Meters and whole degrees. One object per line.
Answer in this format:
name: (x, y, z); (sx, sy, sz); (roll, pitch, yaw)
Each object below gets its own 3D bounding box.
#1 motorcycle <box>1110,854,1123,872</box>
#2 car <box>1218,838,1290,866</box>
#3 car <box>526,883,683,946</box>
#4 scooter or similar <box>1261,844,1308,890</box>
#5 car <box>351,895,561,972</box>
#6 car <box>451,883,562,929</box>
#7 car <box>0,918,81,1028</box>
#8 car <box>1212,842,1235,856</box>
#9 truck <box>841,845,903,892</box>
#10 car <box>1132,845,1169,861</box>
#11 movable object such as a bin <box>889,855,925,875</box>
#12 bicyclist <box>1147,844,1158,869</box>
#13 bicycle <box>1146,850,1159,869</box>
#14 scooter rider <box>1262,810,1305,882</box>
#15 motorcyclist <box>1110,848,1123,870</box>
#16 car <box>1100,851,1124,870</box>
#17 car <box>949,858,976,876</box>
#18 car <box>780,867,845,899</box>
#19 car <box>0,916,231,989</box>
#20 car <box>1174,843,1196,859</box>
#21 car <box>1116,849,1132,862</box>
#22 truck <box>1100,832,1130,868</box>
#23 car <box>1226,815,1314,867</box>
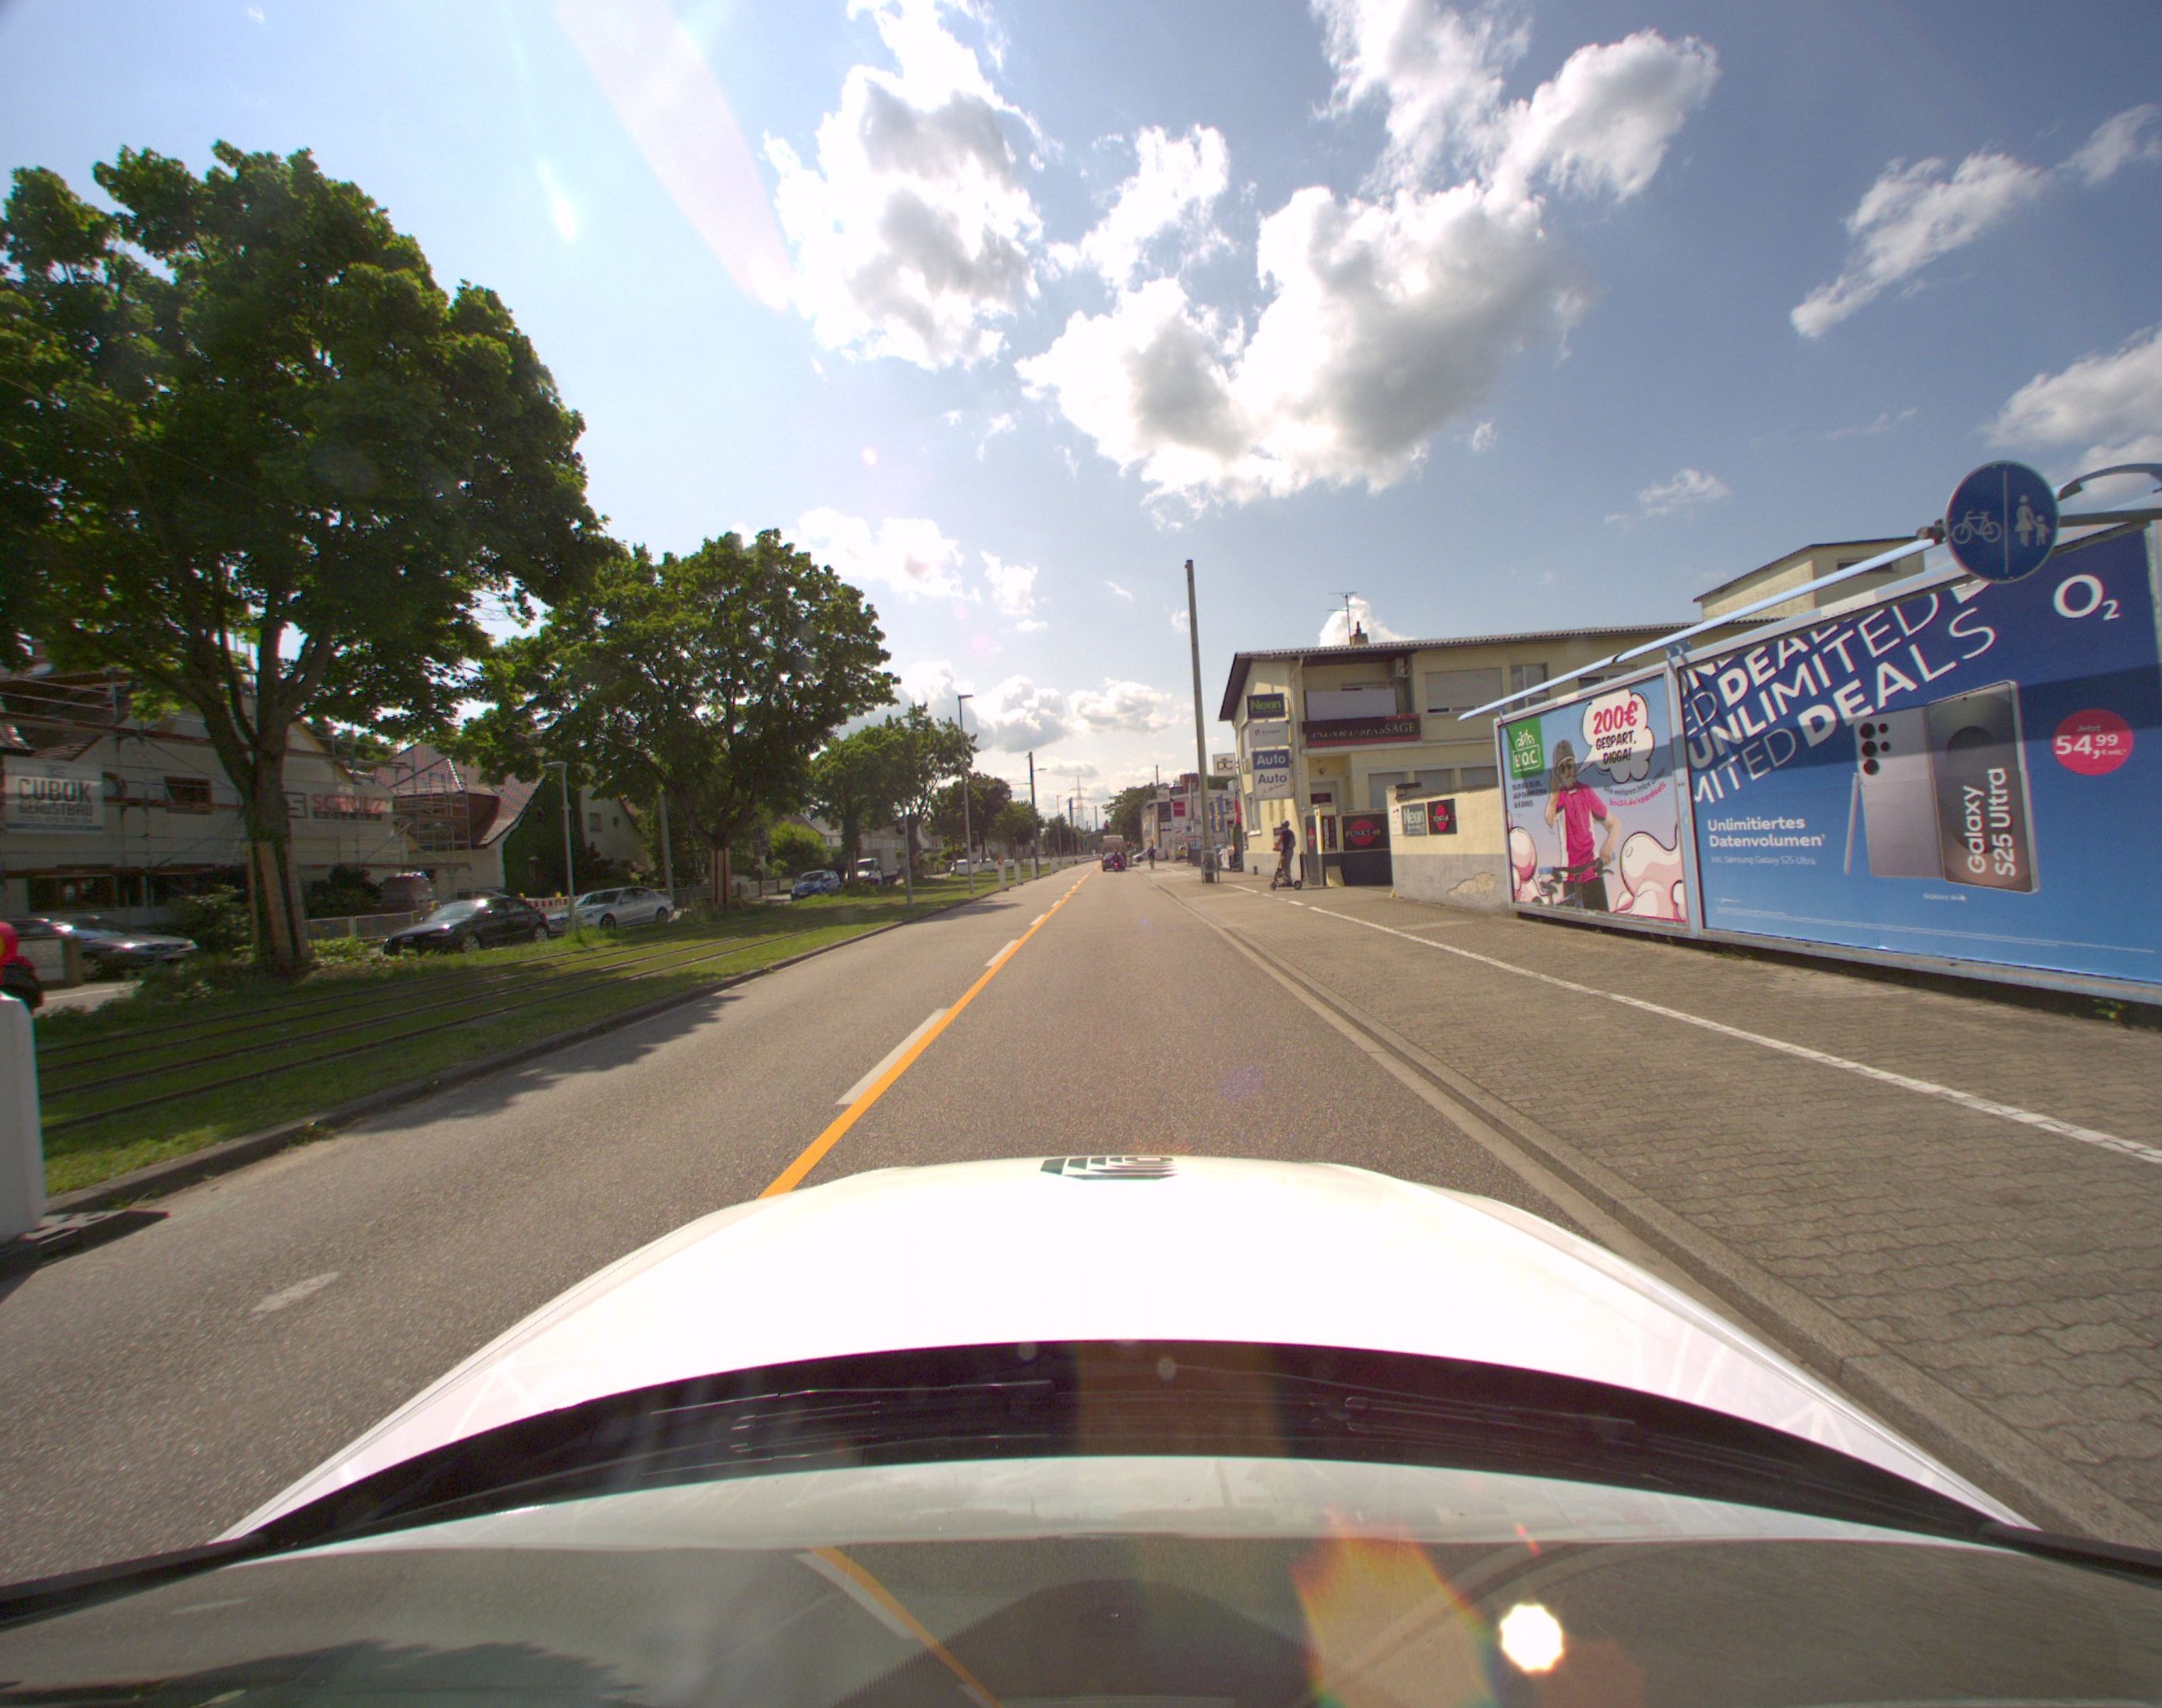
motorcycle: (2.727, 0.648, 61.985); (0.935, 1.320, 2.646); (-2, 0, 2)
car: (10.512, -0.123, 49.831); (4.159, 1.431, 1.825); (-4, 0, 9)
car: (-14.847, 1.823, 25.772); (1.797, 1.482, 4.943); (-5, 0, 3)
scooter or similar: (5.706, 0.376, 22.909); (0.541, 1.195, 1.605); (-5, -1, -11)
car: (-15.202, 1.874, 20.122); (1.986, 1.317, 3.854); (-6, -1, 2)
car: (-26.147, 2.340, 37.164); (3.634, 1.684, 1.874); (-5, -1, 1)
car: (-15.748, 1.735, 9.937); (1.986, 1.438, 4.002); (-6, -1, 2)
car: (16.360, -0.592, 93.593); (1.953, 1.420, 4.000); (-5, -1, 0)
truck: (-13.828, 0.876, 54.279); (1.986, 2.767, 6.280); (-7, 0, 2)
car: (8.888, -0.120, 103.807); (4.325, 1.551, 1.946); (-5, -1, -6)
movable object such as a bin: (-23.089, 1.455, 107.974); (4.351, 2.449, 1.777); (-4, 0, -20)
bicyclist: (5.260, 0.177, 59.843); (0.669, 1.744, 0.814); (-4, 0, 2)
bicycle: (5.252, 0.402, 59.825); (0.690, 1.361, 2.420); (-4, 0, 2)
scooter rider: (5.739, -0.209, 23.088); (0.718, 1.963, 0.782); (-5, -1, -12)
motorcyclist: (2.715, 0.389, 61.806); (0.936, 1.615, 1.205); (-2, 0, 2)
car: (2.530, 0.497, 66.278); (1.814, 1.424, 4.002); (-3, 0, 2)
car: (-12.769, 1.390, 88.092); (1.986, 1.750, 4.002); (-5, -1, 2)
car: (-14.212, 1.520, 43.306); (1.987, 1.453, 4.000); (-5, -1, 0)
car: (-23.537, 2.350, 19.645); (3.972, 1.401, 1.983); (-3, -1, 2)
car: (11.842, -0.364, 93.011); (1.953, 1.648, 4.000); (-5, -1, 0)
car: (5.022, 0.154, 95.622); (1.814, 1.464, 4.003); (-3, 0, 3)
truck: (3.466, -0.490, 82.515); (2.600, 3.255, 9.190); (-5, 1, 3)
car: (10.791, -0.723, 46.865); (4.517, 2.573, 2.153); (-4, -1, 3)
